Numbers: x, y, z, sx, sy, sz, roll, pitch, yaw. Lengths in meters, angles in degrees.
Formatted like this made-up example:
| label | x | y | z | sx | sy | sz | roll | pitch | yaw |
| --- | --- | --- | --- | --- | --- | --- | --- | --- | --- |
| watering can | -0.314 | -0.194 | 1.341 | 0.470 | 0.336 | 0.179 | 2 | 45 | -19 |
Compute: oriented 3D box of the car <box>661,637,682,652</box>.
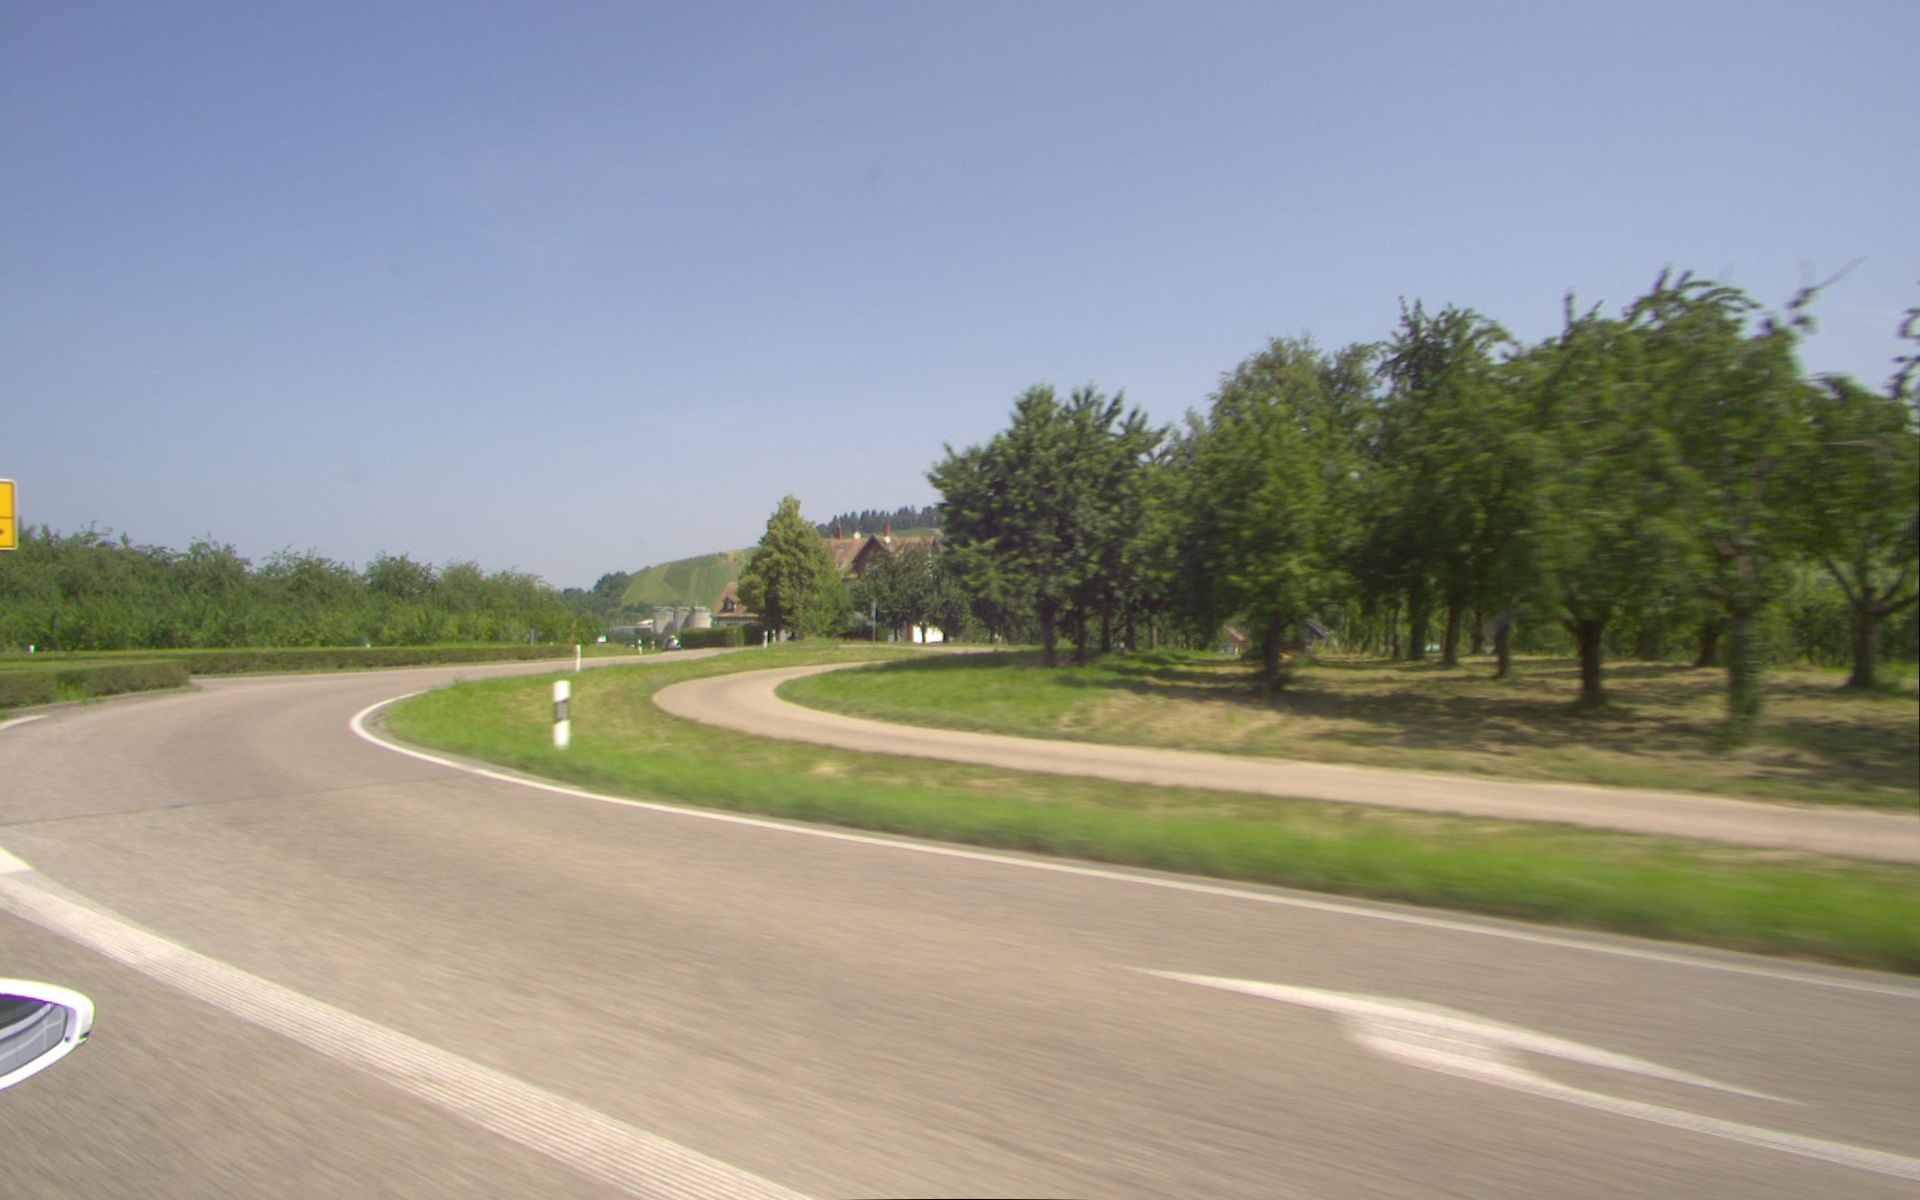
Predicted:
| label | x | y | z | sx | sy | sz | roll | pitch | yaw |
| --- | --- | --- | --- | --- | --- | --- | --- | --- | --- |
| car | -35.290 | 5.465 | 122.504 | 1.763 | 1.705 | 3.985 | 1 | -1 | -26 |
